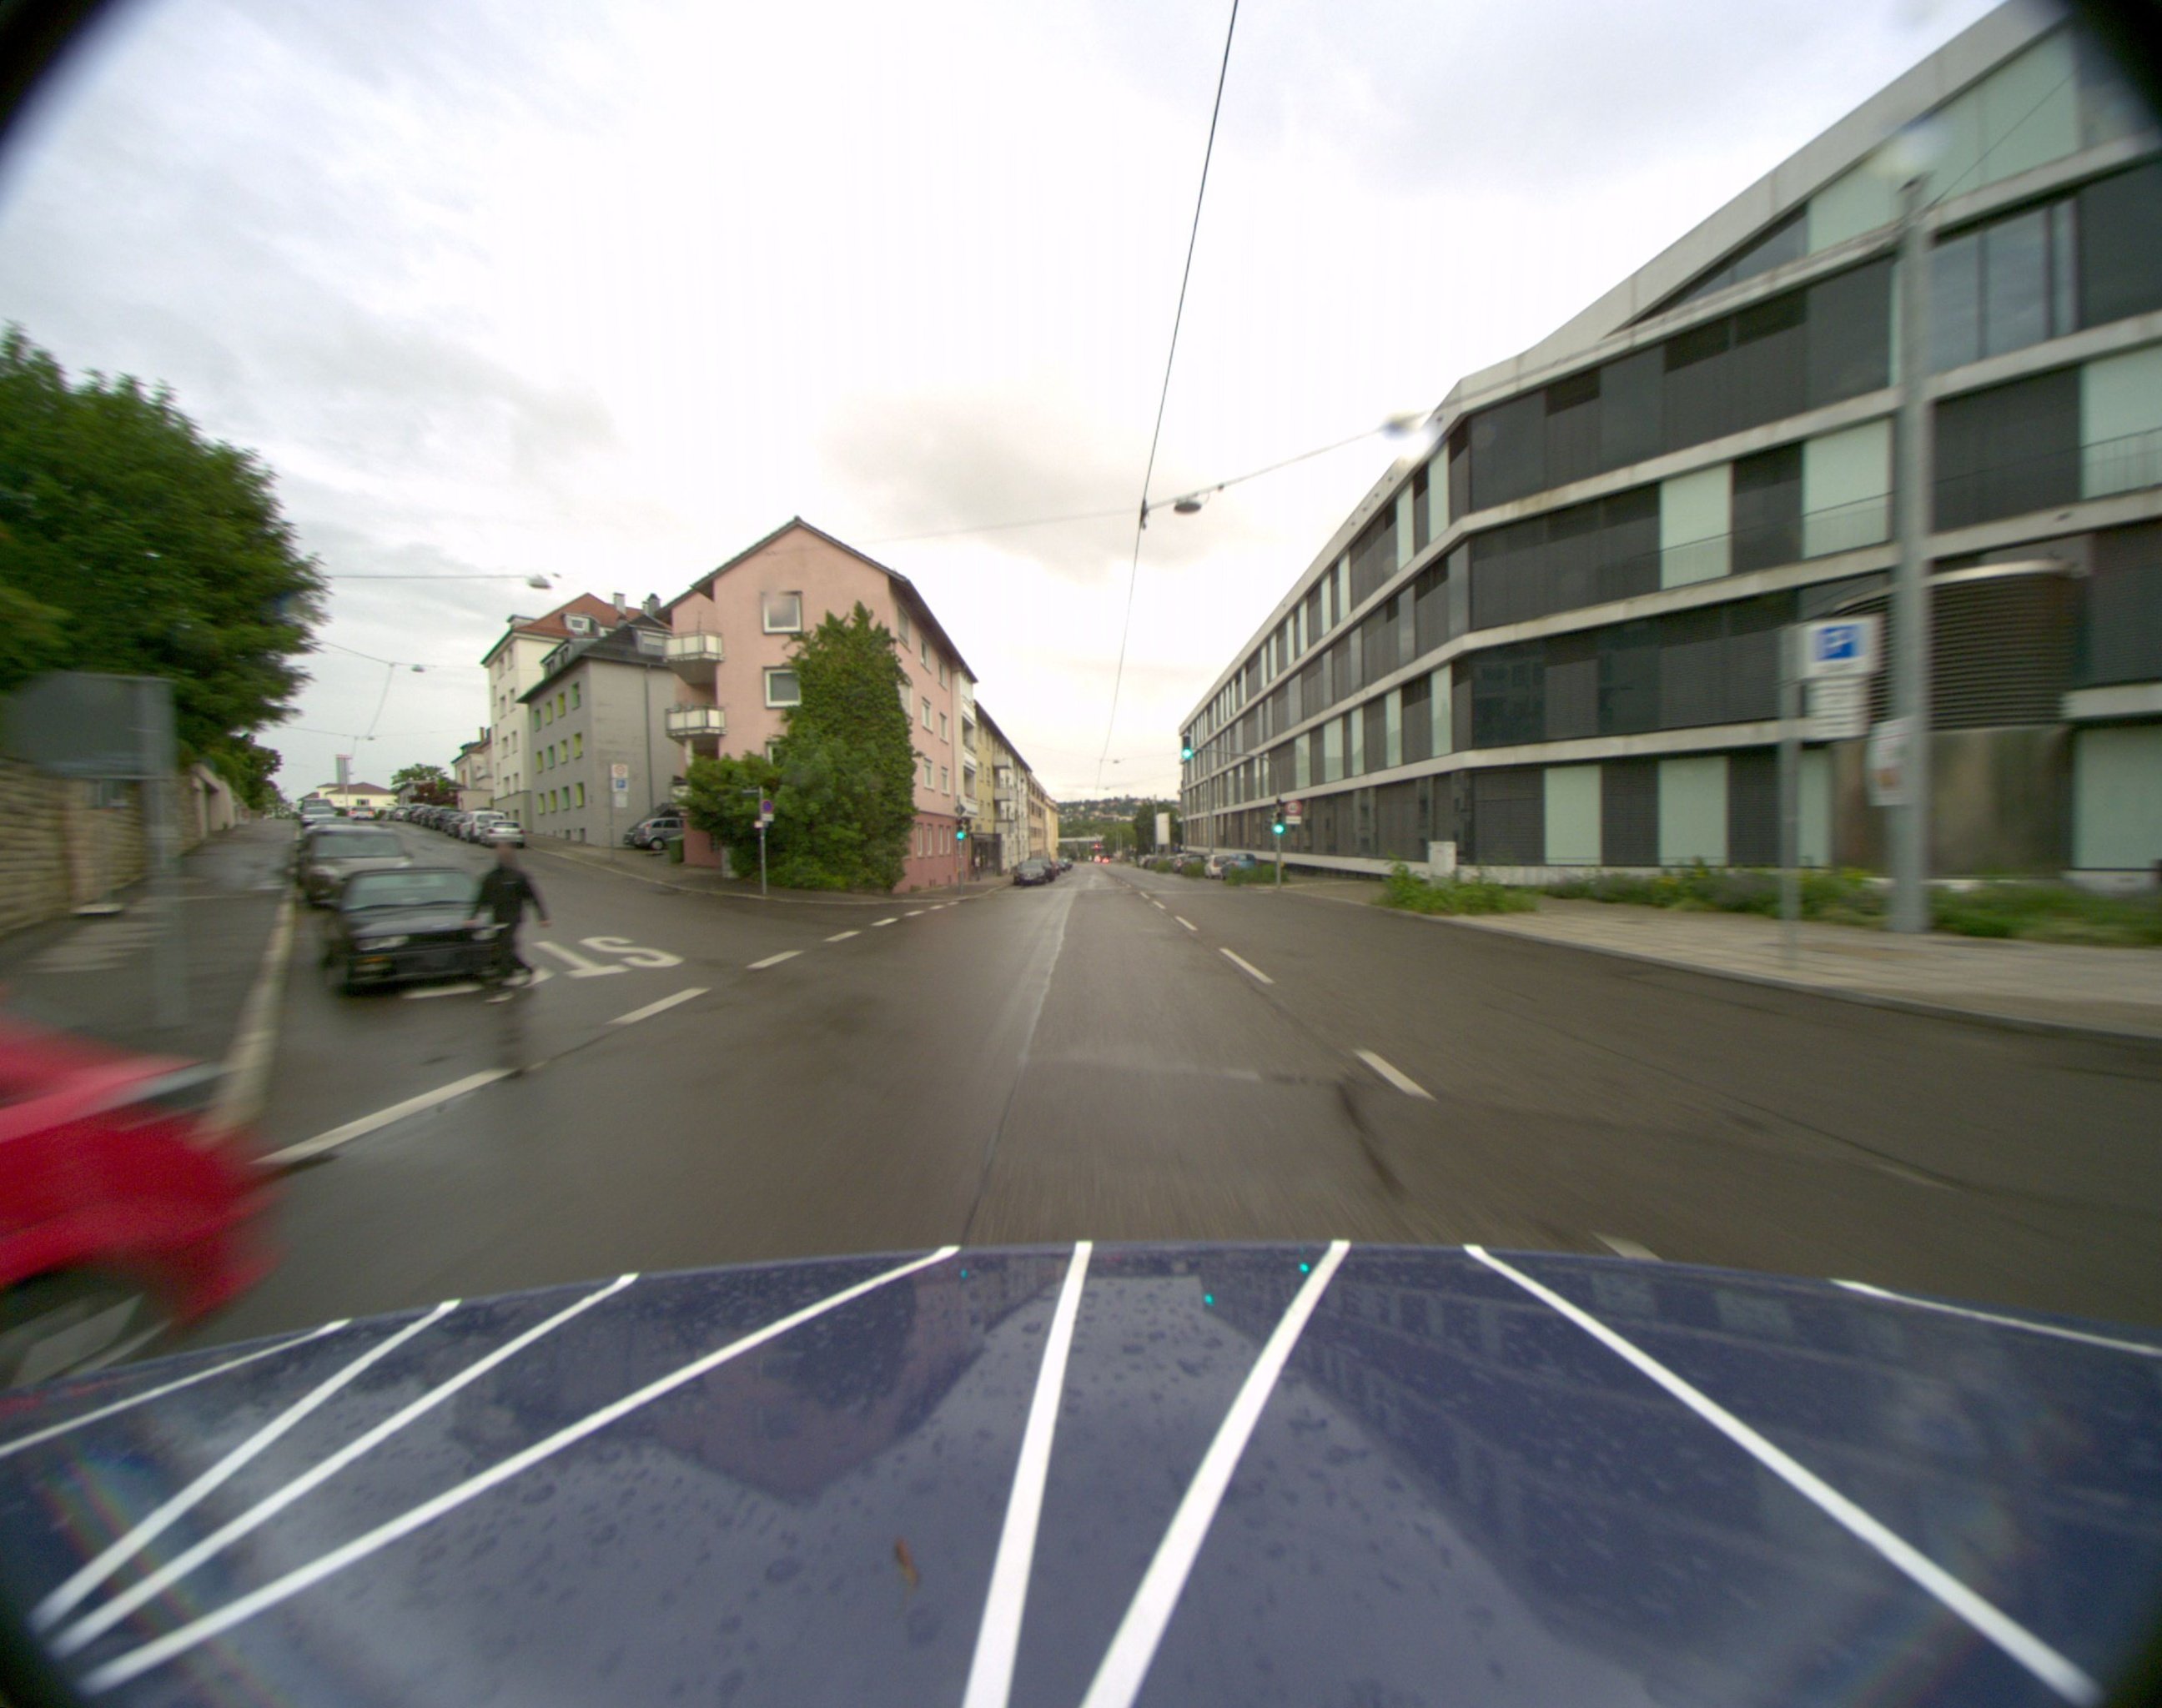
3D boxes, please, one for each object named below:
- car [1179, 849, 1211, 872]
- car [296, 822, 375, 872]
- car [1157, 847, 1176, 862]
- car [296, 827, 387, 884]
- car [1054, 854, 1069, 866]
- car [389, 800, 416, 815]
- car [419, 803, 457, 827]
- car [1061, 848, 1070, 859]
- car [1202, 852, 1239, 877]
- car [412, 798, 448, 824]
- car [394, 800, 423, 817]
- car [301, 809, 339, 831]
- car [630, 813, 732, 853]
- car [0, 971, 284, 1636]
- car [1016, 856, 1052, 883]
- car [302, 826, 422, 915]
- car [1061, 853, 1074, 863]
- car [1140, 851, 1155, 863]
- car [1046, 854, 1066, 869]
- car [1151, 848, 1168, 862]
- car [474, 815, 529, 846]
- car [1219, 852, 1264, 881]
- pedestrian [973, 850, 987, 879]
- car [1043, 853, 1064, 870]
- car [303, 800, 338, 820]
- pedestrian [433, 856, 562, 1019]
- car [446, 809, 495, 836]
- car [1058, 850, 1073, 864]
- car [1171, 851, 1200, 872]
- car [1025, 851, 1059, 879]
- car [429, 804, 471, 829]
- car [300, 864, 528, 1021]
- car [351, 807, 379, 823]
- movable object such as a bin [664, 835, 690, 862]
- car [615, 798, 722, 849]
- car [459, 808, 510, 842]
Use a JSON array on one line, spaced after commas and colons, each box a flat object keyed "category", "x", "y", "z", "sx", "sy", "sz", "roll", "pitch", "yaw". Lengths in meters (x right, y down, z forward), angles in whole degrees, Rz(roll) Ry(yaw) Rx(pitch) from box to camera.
[{"category": "car", "x": 8.566, "y": 0.484, "z": 57.530, "sx": 1.887, "sy": 1.580, "sz": 4.363, "roll": -3, "pitch": 0, "yaw": 3}, {"category": "car", "x": -26.407, "y": -0.318, "z": 26.867, "sx": 4.324, "sy": 1.447, "sz": 1.686, "roll": 5, "pitch": 6, "yaw": 42}, {"category": "car", "x": 8.943, "y": 0.016, "z": 79.694, "sx": 1.565, "sy": 1.463, "sz": 4.041, "roll": -2, "pitch": 0, "yaw": 1}, {"category": "car", "x": -22.297, "y": -0.016, "z": 22.889, "sx": 3.987, "sy": 1.446, "sz": 1.804, "roll": 5, "pitch": 4, "yaw": 45}, {"category": "car", "x": -2.358, "y": 0.709, "z": 91.598, "sx": 1.630, "sy": 1.402, "sz": 3.778, "roll": -2, "pitch": 0, "yaw": 1}, {"category": "car", "x": -72.977, "y": -5.035, "z": 81.729, "sx": 3.986, "sy": 1.502, "sz": 1.804, "roll": 5, "pitch": 4, "yaw": 42}, {"category": "car", "x": -50.343, "y": -3.092, "z": 59.465, "sx": 3.986, "sy": 1.688, "sz": 1.804, "roll": 5, "pitch": 4, "yaw": 42}, {"category": "car", "x": -3.716, "y": -0.093, "z": 183.559, "sx": 1.891, "sy": 2.446, "sz": 4.513, "roll": -2, "pitch": 0, "yaw": 1}, {"category": "car", "x": 8.520, "y": 0.607, "z": 46.639, "sx": 1.641, "sy": 1.458, "sz": 3.584, "roll": -1, "pitch": 0, "yaw": 2}, {"category": "car", "x": -54.366, "y": -3.602, "z": 63.405, "sx": 3.986, "sy": 1.945, "sz": 1.804, "roll": 5, "pitch": 4, "yaw": 42}, {"category": "car", "x": -68.329, "y": -4.627, "z": 77.175, "sx": 3.986, "sy": 1.502, "sz": 1.804, "roll": 5, "pitch": 4, "yaw": 42}, {"category": "car", "x": -54.302, "y": -2.477, "z": 54.280, "sx": 1.686, "sy": 1.447, "sz": 3.833, "roll": -4, "pitch": 6, "yaw": -43}, {"category": "car", "x": -20.506, "y": -1.089, "z": 39.071, "sx": 1.946, "sy": 1.853, "sz": 4.273, "roll": 5, "pitch": 5, "yaw": 43}, {"category": "car", "x": -3.387, "y": 1.115, "z": 0.225, "sx": 1.725, "sy": 1.413, "sz": 4.203, "roll": -3, "pitch": 0, "yaw": 2}, {"category": "car", "x": -2.782, "y": 0.898, "z": 45.819, "sx": 1.796, "sy": 1.511, "sz": 4.512, "roll": -1, "pitch": 0, "yaw": 1}, {"category": "car", "x": -17.251, "y": 0.281, "z": 18.163, "sx": 4.400, "sy": 1.731, "sz": 1.830, "roll": 4, "pitch": 4, "yaw": 43}, {"category": "car", "x": -2.132, "y": 0.604, "z": 121.308, "sx": 1.798, "sy": 1.501, "sz": 4.000, "roll": -2, "pitch": 0, "yaw": 1}, {"category": "car", "x": 9.184, "y": 0.354, "z": 104.872, "sx": 1.642, "sy": 1.576, "sz": 4.041, "roll": -2, "pitch": 0, "yaw": 1}, {"category": "car", "x": -2.383, "y": 0.698, "z": 72.018, "sx": 1.630, "sy": 1.402, "sz": 3.778, "roll": -2, "pitch": 0, "yaw": 1}, {"category": "car", "x": 9.099, "y": 0.106, "z": 88.479, "sx": 1.642, "sy": 1.463, "sz": 4.041, "roll": -2, "pitch": 0, "yaw": 1}, {"category": "car", "x": -30.830, "y": -1.254, "z": 40.377, "sx": 3.903, "sy": 1.446, "sz": 1.687, "roll": 5, "pitch": 4, "yaw": 42}, {"category": "car", "x": 8.732, "y": 0.657, "z": 41.545, "sx": 1.641, "sy": 1.458, "sz": 3.583, "roll": -1, "pitch": 0, "yaw": -1}, {"category": "pedestrian", "x": -6.266, "y": 0.640, "z": 47.188, "sx": 0.715, "sy": 1.763, "sz": 0.748, "roll": 1, "pitch": 0, "yaw": 0}, {"category": "car", "x": -2.416, "y": 0.627, "z": 67.863, "sx": 1.630, "sy": 1.448, "sz": 3.484, "roll": -2, "pitch": 0, "yaw": 1}, {"category": "car", "x": -58.361, "y": -3.418, "z": 58.360, "sx": 1.686, "sy": 1.447, "sz": 3.833, "roll": -4, "pitch": 6, "yaw": -43}, {"category": "pedestrian", "x": -6.465, "y": 0.882, "z": 8.468, "sx": 0.725, "sy": 1.705, "sz": 0.905, "roll": 0, "pitch": 1, "yaw": 2}, {"category": "car", "x": -38.315, "y": -1.963, "z": 47.669, "sx": 3.986, "sy": 1.502, "sz": 1.804, "roll": 5, "pitch": 4, "yaw": 42}, {"category": "car", "x": -2.135, "y": 0.459, "z": 105.883, "sx": 1.911, "sy": 1.865, "sz": 4.750, "roll": -2, "pitch": 0, "yaw": 1}, {"category": "car", "x": 8.735, "y": 0.582, "z": 63.623, "sx": 1.835, "sy": 1.580, "sz": 4.363, "roll": -3, "pitch": 0, "yaw": 1}, {"category": "car", "x": -2.604, "y": 0.703, "z": 51.566, "sx": 1.968, "sy": 1.764, "sz": 4.512, "roll": 1, "pitch": 0, "yaw": 1}, {"category": "car", "x": -46.237, "y": -2.770, "z": 55.642, "sx": 3.986, "sy": 1.688, "sz": 1.804, "roll": 5, "pitch": 4, "yaw": 42}, {"category": "car", "x": -8.831, "y": 0.946, "z": 9.932, "sx": 4.264, "sy": 1.385, "sz": 1.756, "roll": 3, "pitch": 3, "yaw": 43}, {"category": "car", "x": -72.061, "y": -3.957, "z": 76.435, "sx": 3.833, "sy": 1.447, "sz": 1.686, "roll": 5, "pitch": 6, "yaw": 42}, {"category": "movable object such as a bin", "x": -17.402, "y": -0.237, "z": 32.753, "sx": 0.758, "sy": 1.151, "sz": 0.749, "roll": 0, "pitch": 4, "yaw": -10}, {"category": "car", "x": -22.164, "y": -1.642, "z": 40.950, "sx": 4.604, "sy": 2.578, "sz": 2.328, "roll": -1, "pitch": 5, "yaw": -44}, {"category": "car", "x": -34.156, "y": -1.683, "z": 43.484, "sx": 3.903, "sy": 1.757, "sz": 1.687, "roll": 5, "pitch": 4, "yaw": 42}]
